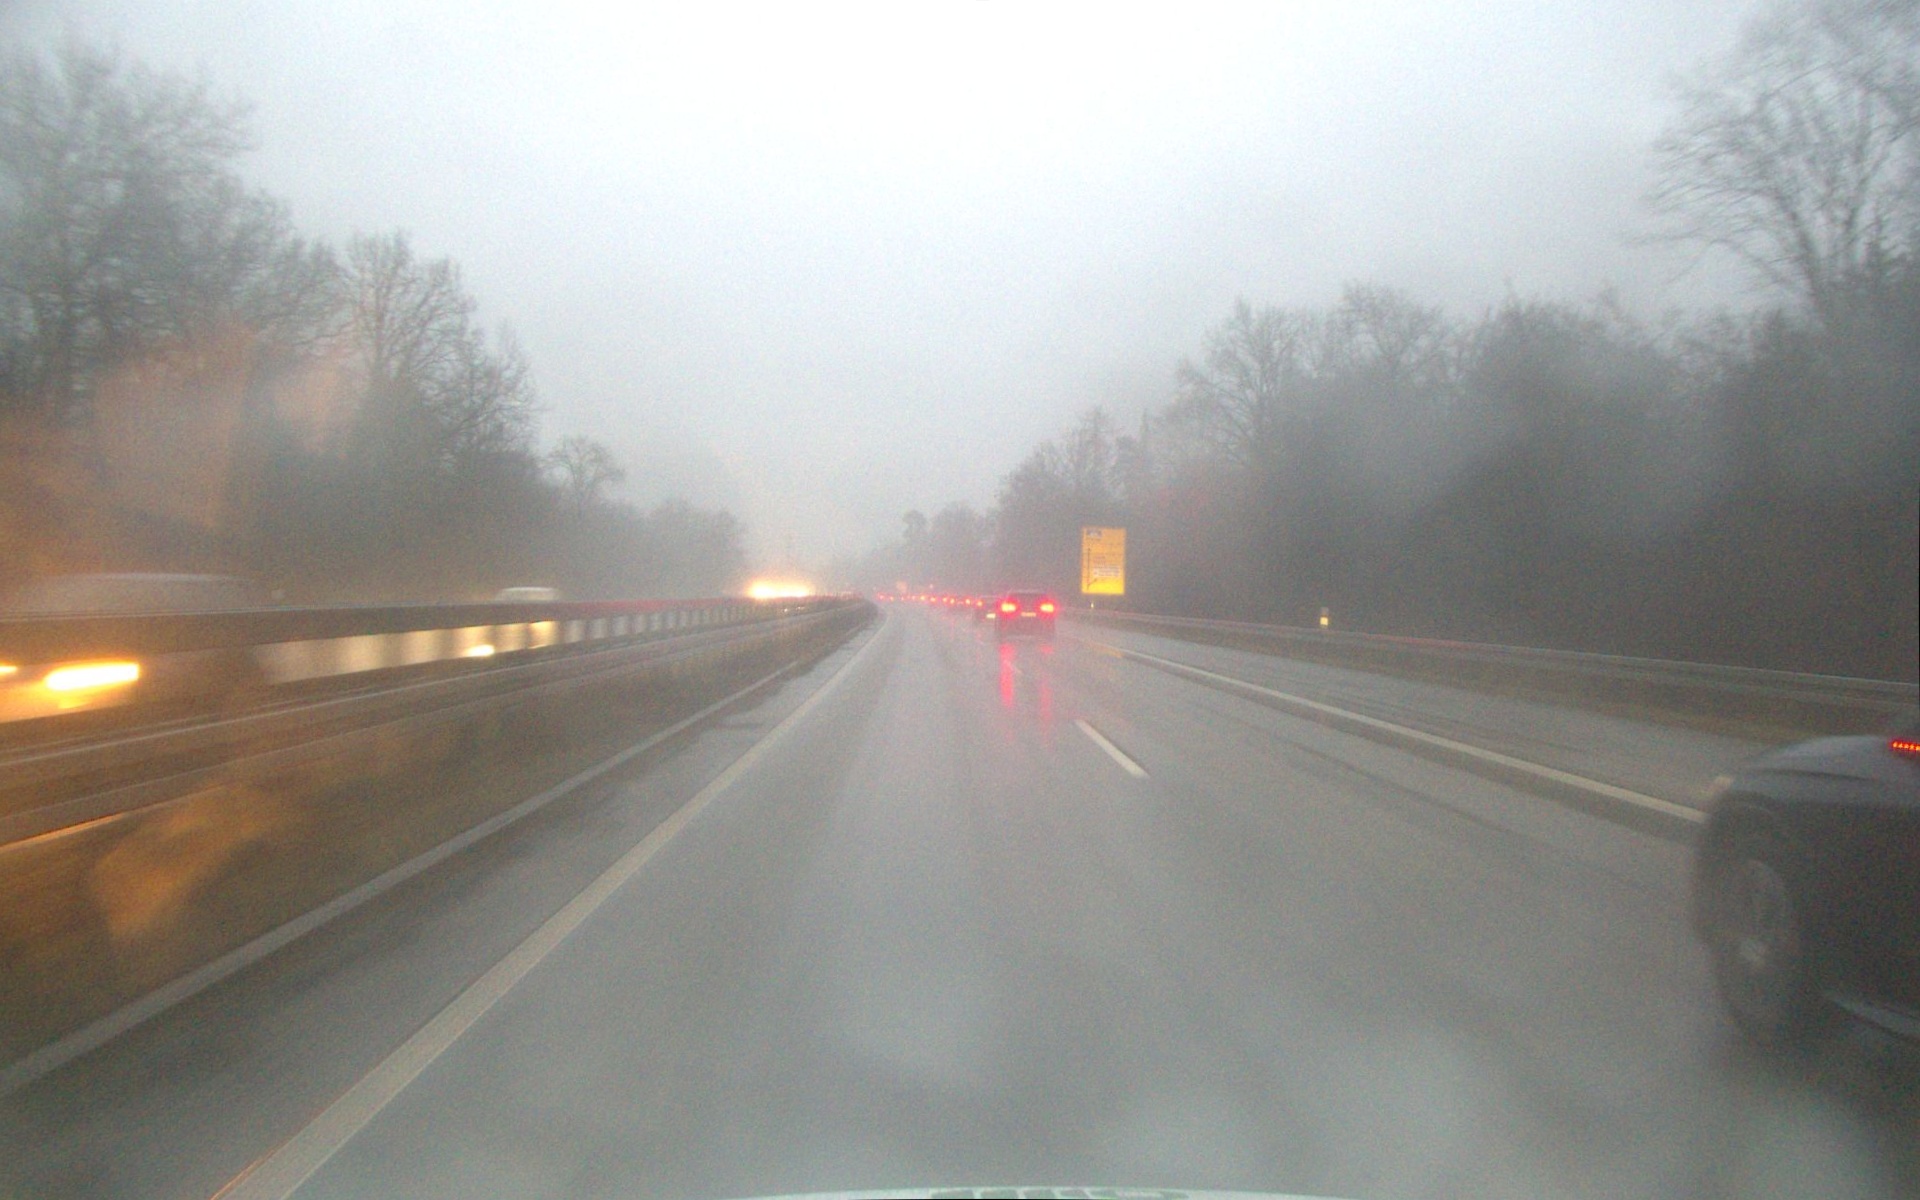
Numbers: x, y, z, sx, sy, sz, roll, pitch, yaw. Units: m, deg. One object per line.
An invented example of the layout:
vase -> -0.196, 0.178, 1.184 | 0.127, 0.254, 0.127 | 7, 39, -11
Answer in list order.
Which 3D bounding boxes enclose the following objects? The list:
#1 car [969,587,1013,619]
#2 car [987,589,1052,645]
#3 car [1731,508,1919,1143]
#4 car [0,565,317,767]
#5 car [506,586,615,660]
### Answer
car -> 1.502, 0.174, 81.548 | 1.953, 1.445, 3.998 | 3, -1, -2
car -> 1.921, 0.538, 54.474 | 1.951, 1.745, 3.829 | 1, 0, -1
car -> 3.723, 0.654, 3.914 | 1.885, 1.823, 3.939 | 1, 0, -1
car -> -6.950, 0.495, 14.091 | 1.598, 1.493, 3.523 | 1, 0, -1
car -> -10.573, 0.596, 44.006 | 1.720, 1.867, 3.914 | 1, 0, 3
